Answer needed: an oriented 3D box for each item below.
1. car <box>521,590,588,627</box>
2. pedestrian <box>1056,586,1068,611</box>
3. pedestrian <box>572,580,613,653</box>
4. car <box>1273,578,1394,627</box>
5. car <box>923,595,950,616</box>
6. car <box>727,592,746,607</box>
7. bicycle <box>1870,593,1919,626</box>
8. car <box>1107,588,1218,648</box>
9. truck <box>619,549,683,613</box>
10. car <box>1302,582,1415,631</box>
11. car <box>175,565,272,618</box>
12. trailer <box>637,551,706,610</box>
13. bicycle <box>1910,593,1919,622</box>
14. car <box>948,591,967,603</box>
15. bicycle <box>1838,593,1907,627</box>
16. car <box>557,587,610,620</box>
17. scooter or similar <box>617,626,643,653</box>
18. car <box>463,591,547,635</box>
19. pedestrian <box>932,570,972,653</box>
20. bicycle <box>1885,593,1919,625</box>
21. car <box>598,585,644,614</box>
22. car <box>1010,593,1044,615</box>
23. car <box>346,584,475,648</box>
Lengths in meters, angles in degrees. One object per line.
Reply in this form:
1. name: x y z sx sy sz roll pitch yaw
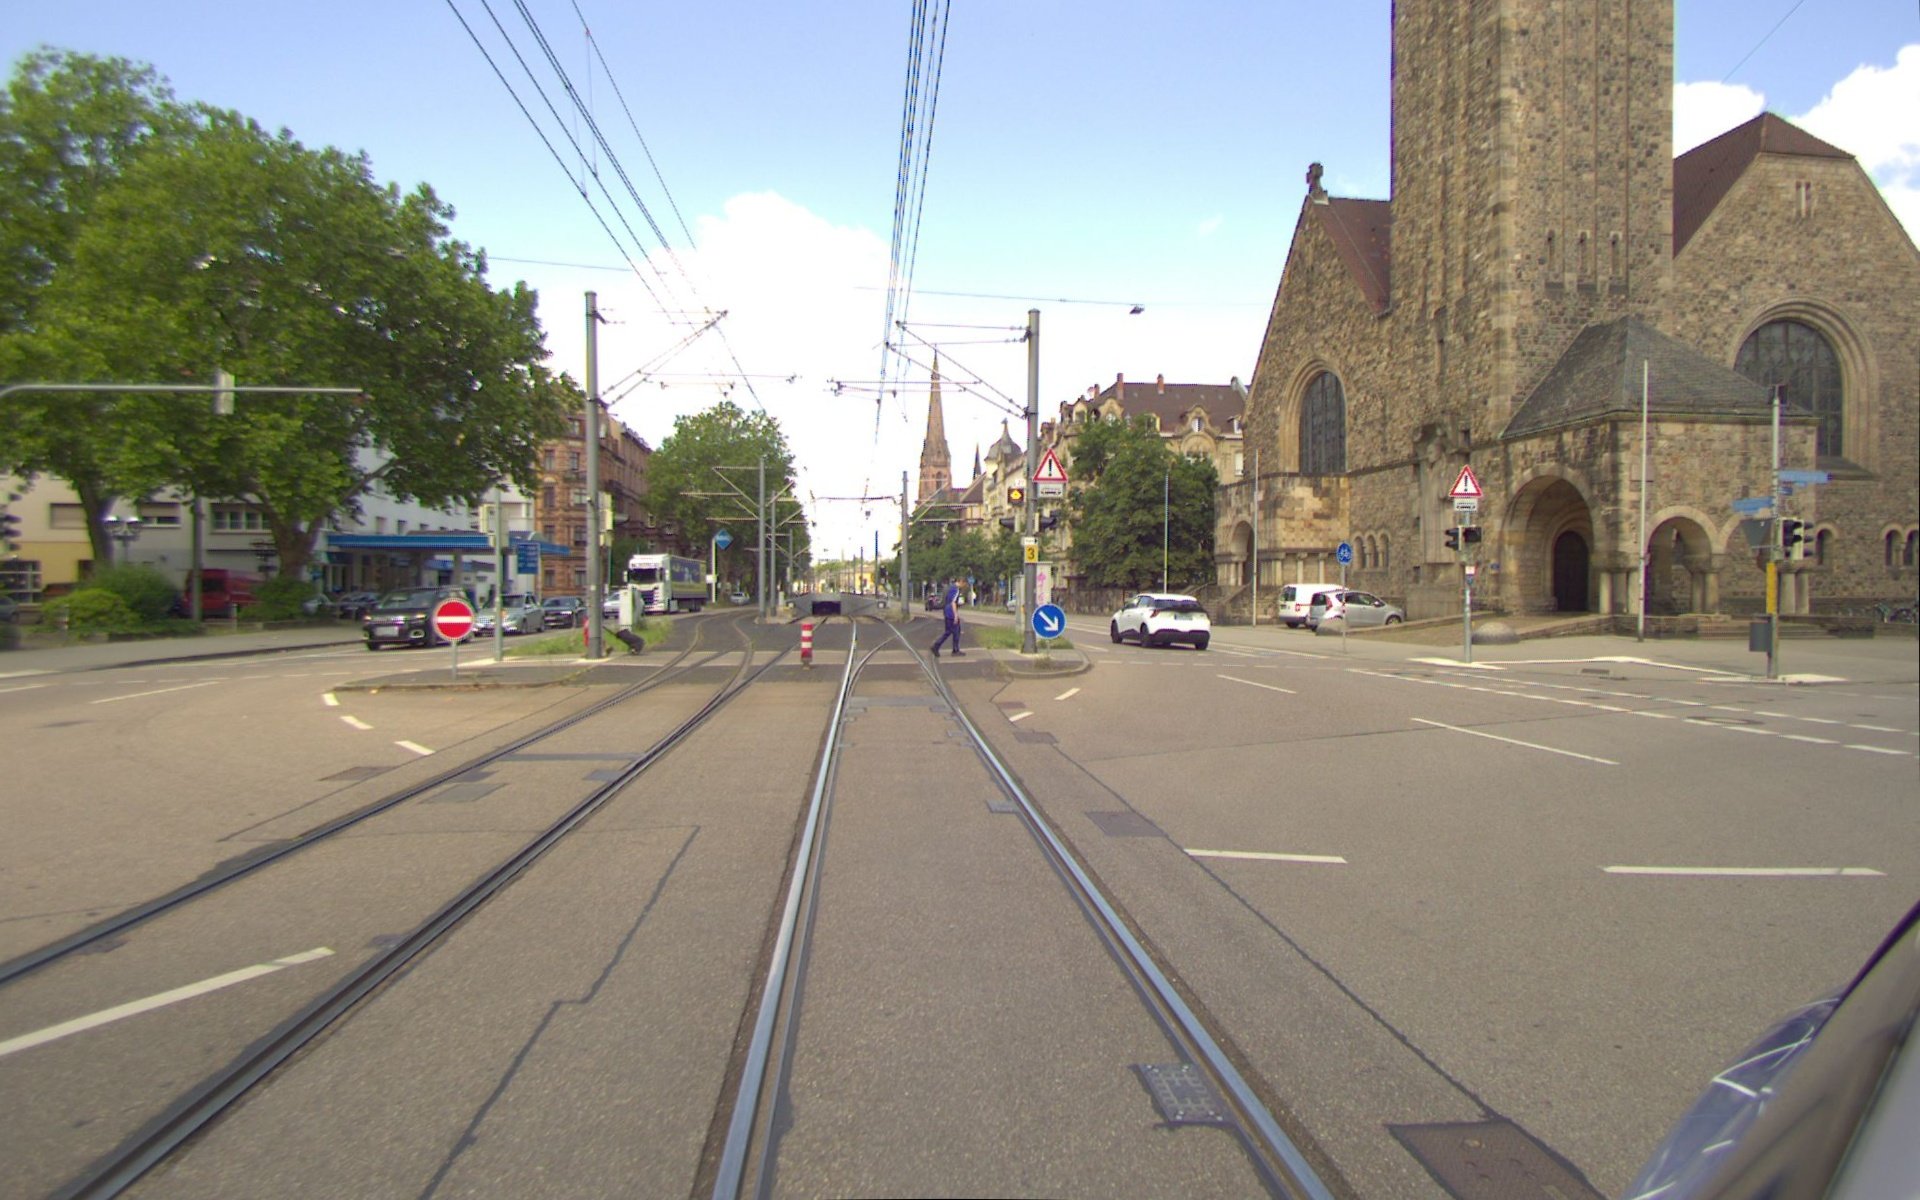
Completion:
1. car: -18.073 0.348 45.284 1.817 1.464 3.979 0 2 -6
2. pedestrian: 6.964 -0.111 69.101 0.646 1.686 0.846 0 0 -5
3. pedestrian: -7.812 0.346 21.545 0.759 1.511 0.660 2 0 -20
4. car: 15.416 0.119 41.873 4.217 1.877 2.003 2 -1 -8
5. car: -1.953 0.422 83.099 1.749 1.554 4.392 1 1 -6
6. car: -26.183 -0.119 118.626 1.767 1.651 4.006 0 1 -7
7. bicycle: 35.984 0.356 38.565 0.574 1.125 1.944 0 4 -11
8. car: 5.646 0.448 28.751 1.783 1.525 4.137 2 0 -7
9. truck: -21.024 -1.328 69.164 2.859 4.201 6.598 0 1 -5
10. car: 15.125 0.253 38.493 3.562 1.700 1.822 2 -1 -10
11. car: -35.223 -0.436 48.543 2.070 2.450 4.006 0 1 -7
12. trailer: -21.697 -1.519 76.821 2.859 4.128 11.664 0 1 -5
13. bicycle: 37.664 0.354 38.691 0.574 1.125 1.944 0 4 -11
14. car: -0.278 -0.301 108.654 1.622 1.249 3.067 0 1 -7
15. bicycle: 34.469 0.362 38.266 0.574 1.125 1.944 0 4 -11
16. car: -19.039 0.131 51.310 1.652 1.583 3.758 0 1 -7
17. scooter or similar: -7.150 0.854 21.958 0.510 0.542 0.311 2 0 -20
18. car: -17.022 0.447 38.065 1.699 1.484 4.333 0 1 -7
19. pedestrian: -0.179 0.243 21.834 0.756 1.753 0.745 0 0 -8
20. bicycle: 36.677 0.354 38.676 0.574 1.125 1.944 0 4 -11
21. car: -20.496 -0.058 61.416 1.817 1.727 4.140 0 1 -6
22. car: 4.761 0.260 72.282 1.753 1.514 3.843 0 1 -7
23. car: -16.142 0.412 29.988 1.817 1.748 4.425 0 1 -6
